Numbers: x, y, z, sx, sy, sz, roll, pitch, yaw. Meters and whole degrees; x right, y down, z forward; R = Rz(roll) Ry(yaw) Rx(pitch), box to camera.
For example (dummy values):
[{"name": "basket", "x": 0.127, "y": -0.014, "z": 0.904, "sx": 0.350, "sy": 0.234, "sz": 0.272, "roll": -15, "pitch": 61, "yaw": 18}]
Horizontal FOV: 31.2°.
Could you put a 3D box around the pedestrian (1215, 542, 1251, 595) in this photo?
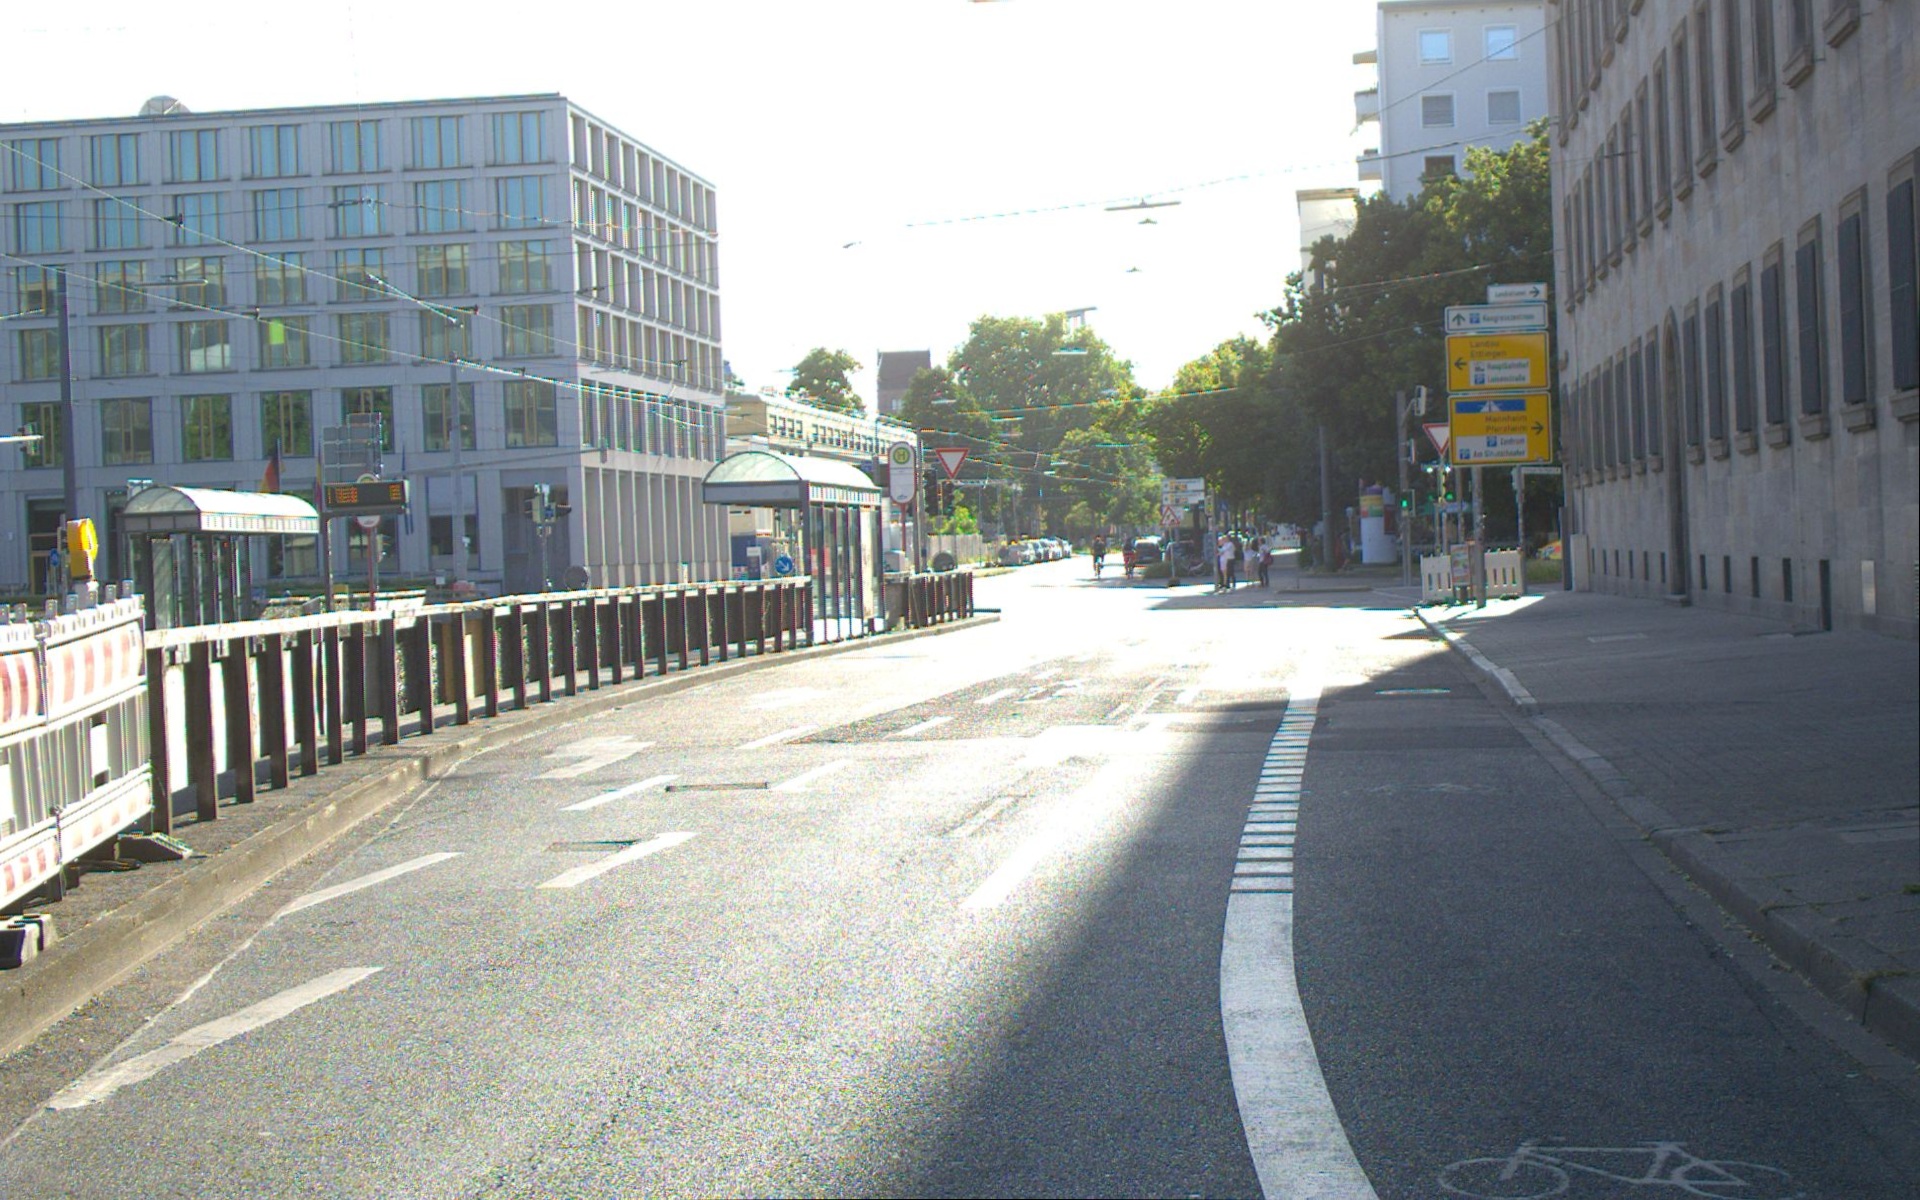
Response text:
[{"name": "pedestrian", "x": 9.234, "y": -1.066, "z": 116.237, "sx": 0.966, "sy": 1.778, "sz": 0.780, "roll": -2, "pitch": 1, "yaw": -9}]

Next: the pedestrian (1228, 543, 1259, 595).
[{"name": "pedestrian", "x": 9.753, "y": -1.070, "z": 118.337, "sx": 0.847, "sy": 1.778, "sz": 0.780, "roll": -2, "pitch": 1, "yaw": -9}]

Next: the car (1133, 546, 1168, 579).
[{"name": "car", "x": 10.276, "y": -2.025, "z": 184.942, "sx": 1.685, "sy": 1.731, "sz": 3.508, "roll": 0, "pitch": 0, "yaw": 6}]

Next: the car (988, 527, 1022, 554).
[{"name": "car", "x": 3.007, "y": -3.967, "z": 228.966, "sx": 1.820, "sy": 1.706, "sz": 3.805, "roll": -2, "pitch": 1, "yaw": 6}]

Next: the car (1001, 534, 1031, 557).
[{"name": "car", "x": 3.788, "y": -3.701, "z": 232.855, "sx": 1.610, "sy": 1.493, "sz": 3.805, "roll": -2, "pitch": 1, "yaw": 6}]

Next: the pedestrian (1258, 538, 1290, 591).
[{"name": "pedestrian", "x": 10.686, "y": -1.212, "z": 116.846, "sx": 0.847, "sy": 1.778, "sz": 0.780, "roll": -2, "pitch": 1, "yaw": -9}]

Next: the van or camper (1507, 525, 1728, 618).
[{"name": "van or camper", "x": 20.623, "y": -0.865, "z": 107.940, "sx": 6.711, "sy": 2.852, "sz": 2.909, "roll": 0, "pitch": 0, "yaw": 11}]

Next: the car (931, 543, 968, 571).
[{"name": "car", "x": -0.644, "y": -2.720, "z": 217.489, "sx": 1.820, "sy": 1.706, "sz": 3.805, "roll": -2, "pitch": 1, "yaw": 6}]

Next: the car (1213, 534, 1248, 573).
[{"name": "car", "x": 14.065, "y": -2.412, "z": 178.706, "sx": 1.685, "sy": 1.955, "sz": 3.508, "roll": 0, "pitch": 0, "yaw": 6}]
